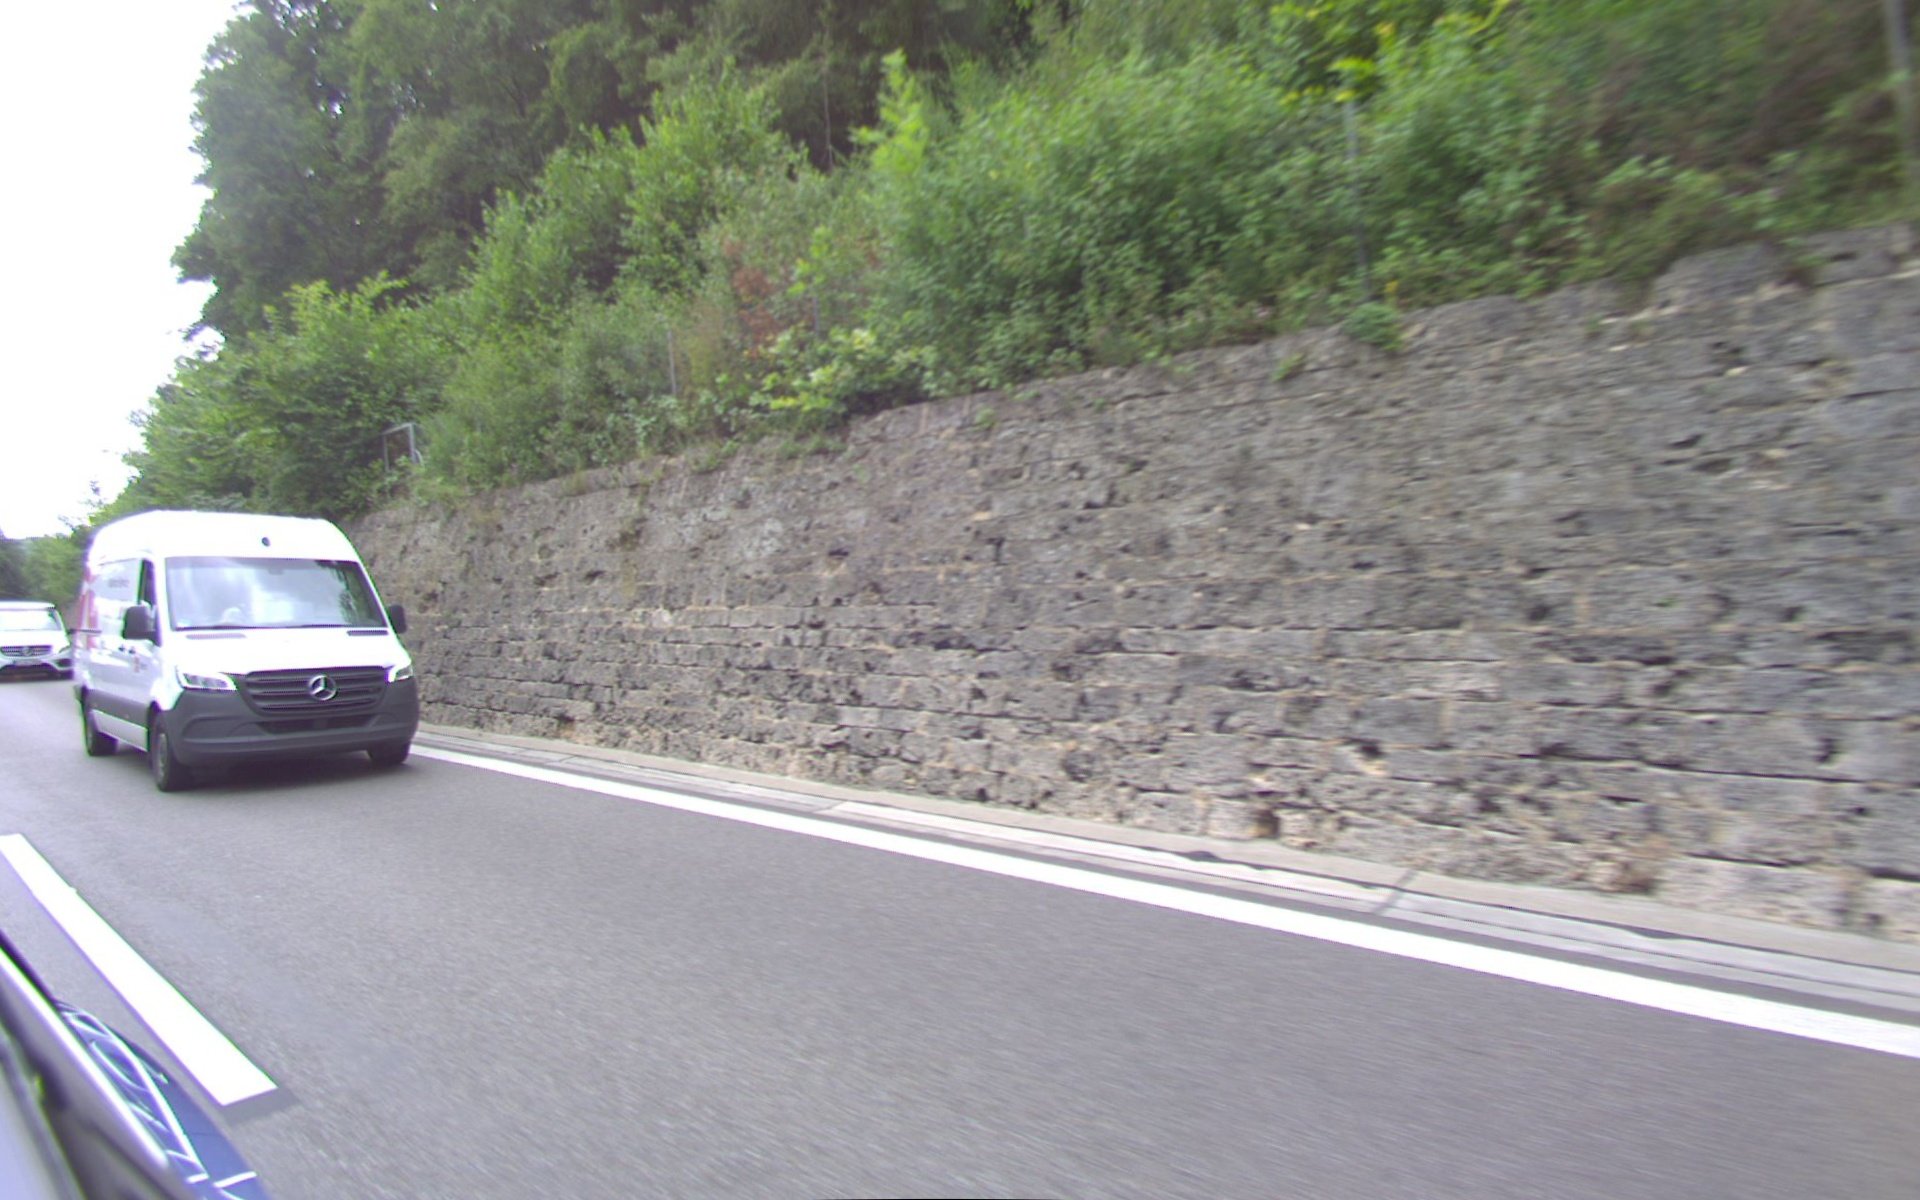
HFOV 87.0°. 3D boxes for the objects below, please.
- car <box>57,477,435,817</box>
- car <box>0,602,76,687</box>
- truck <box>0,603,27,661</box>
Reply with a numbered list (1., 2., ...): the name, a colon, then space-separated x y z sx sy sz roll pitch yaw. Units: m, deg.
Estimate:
1. car: -7.769 0.383 10.645 6.274 2.605 2.004 -1 0 43
2. car: -24.854 1.132 26.548 6.149 1.967 1.971 -2 1 44
3. truck: -40.903 1.370 42.629 1.969 2.297 6.596 -2 1 -40
